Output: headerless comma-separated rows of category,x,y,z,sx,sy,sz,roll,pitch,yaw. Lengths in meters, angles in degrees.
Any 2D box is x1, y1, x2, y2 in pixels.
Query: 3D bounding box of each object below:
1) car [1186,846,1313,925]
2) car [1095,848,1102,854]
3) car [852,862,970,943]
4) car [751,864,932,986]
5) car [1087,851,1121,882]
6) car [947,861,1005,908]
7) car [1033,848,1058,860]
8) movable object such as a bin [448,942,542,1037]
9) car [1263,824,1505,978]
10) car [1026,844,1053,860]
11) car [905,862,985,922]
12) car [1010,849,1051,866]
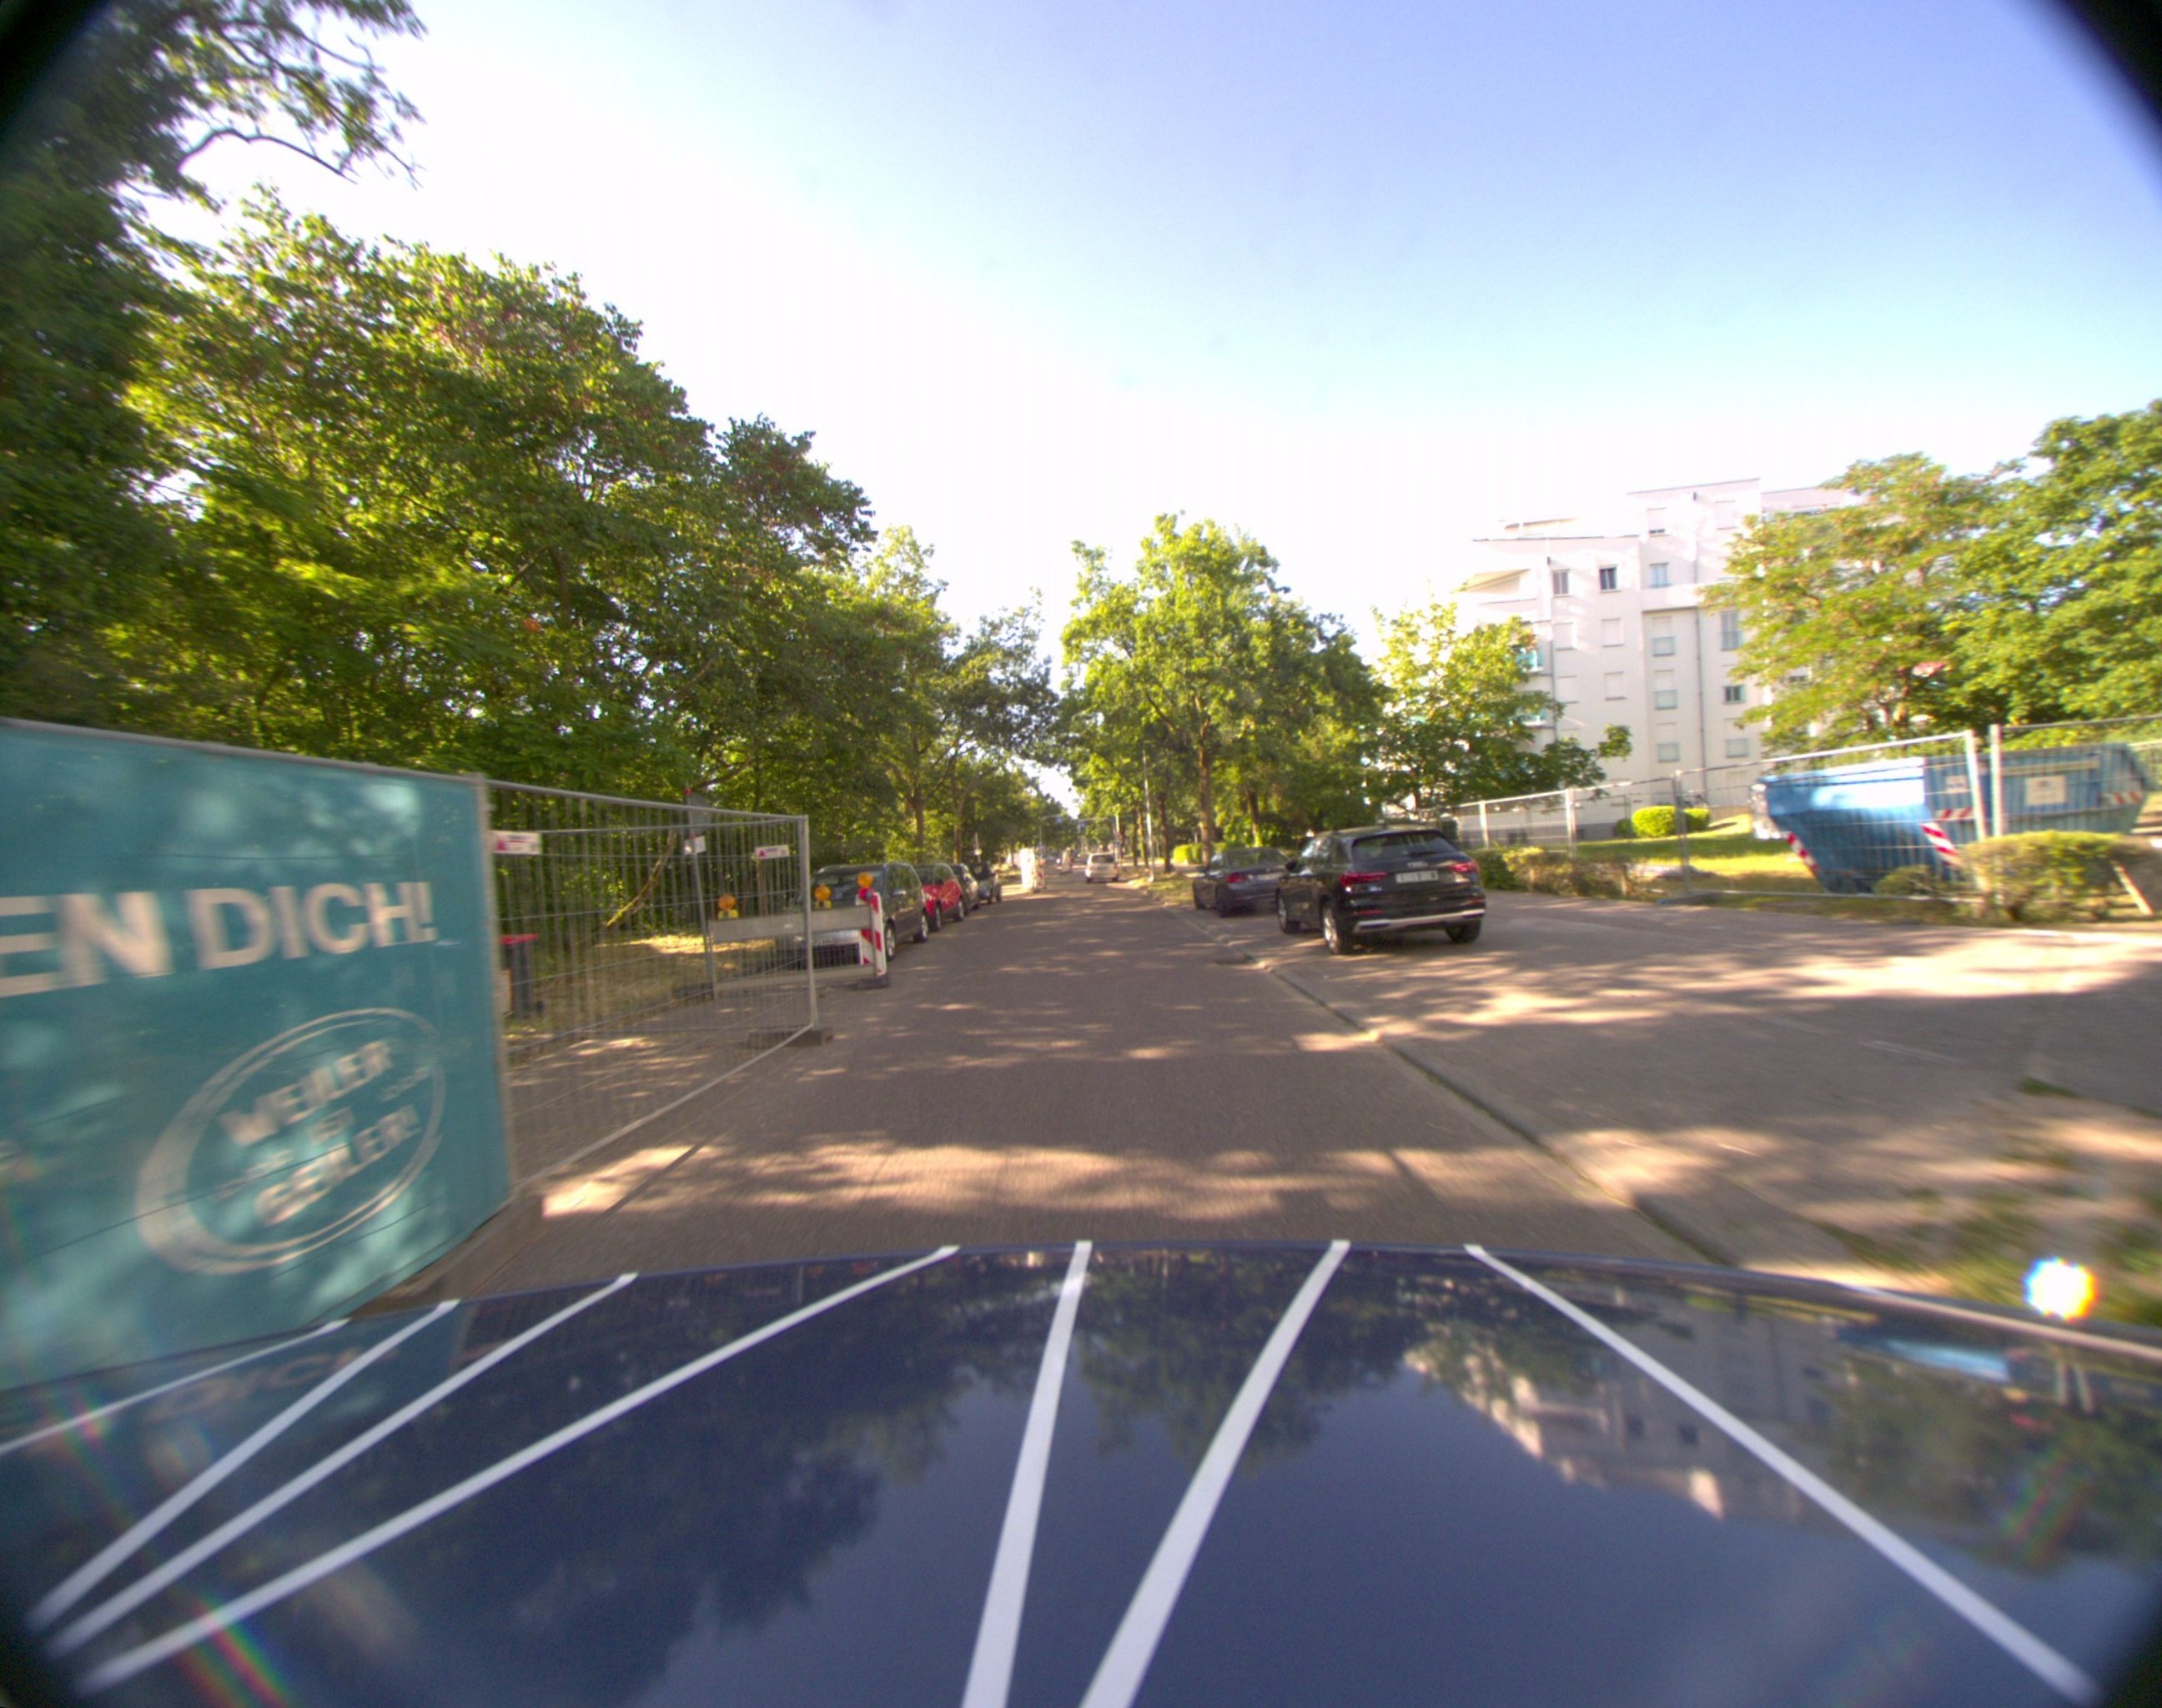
car,3.661,0.624,17.287,1.720,1.424,4.136,-5,0,-2
car,5.862,-1.003,258.279,1.998,1.805,4.001,-4,0,4
car,-3.970,1.074,18.467,1.683,1.565,4.067,-5,0,2
car,-3.948,1.077,13.285,1.683,1.612,4.137,-5,0,1
car,1.216,0.653,41.888,1.663,1.587,4.008,-2,0,0
car,-3.787,1.078,27.787,1.497,1.500,2.677,-5,0,4
car,-6.244,-0.041,133.775,4.245,1.993,1.565,-3,0,-3
movable object such as a bin,-6.102,1.399,7.939,0.485,0.856,0.559,-4,1,-1
car,3.983,0.525,10.829,1.780,1.612,4.221,-5,0,2
car,-7.048,-0.338,128.522,4.412,2.531,1.888,-3,0,-3
car,-4.100,1.103,23.607,1.716,1.500,4.149,-5,0,-1
car,-6.743,0.431,101.095,5.269,1.993,2.000,-3,0,0
